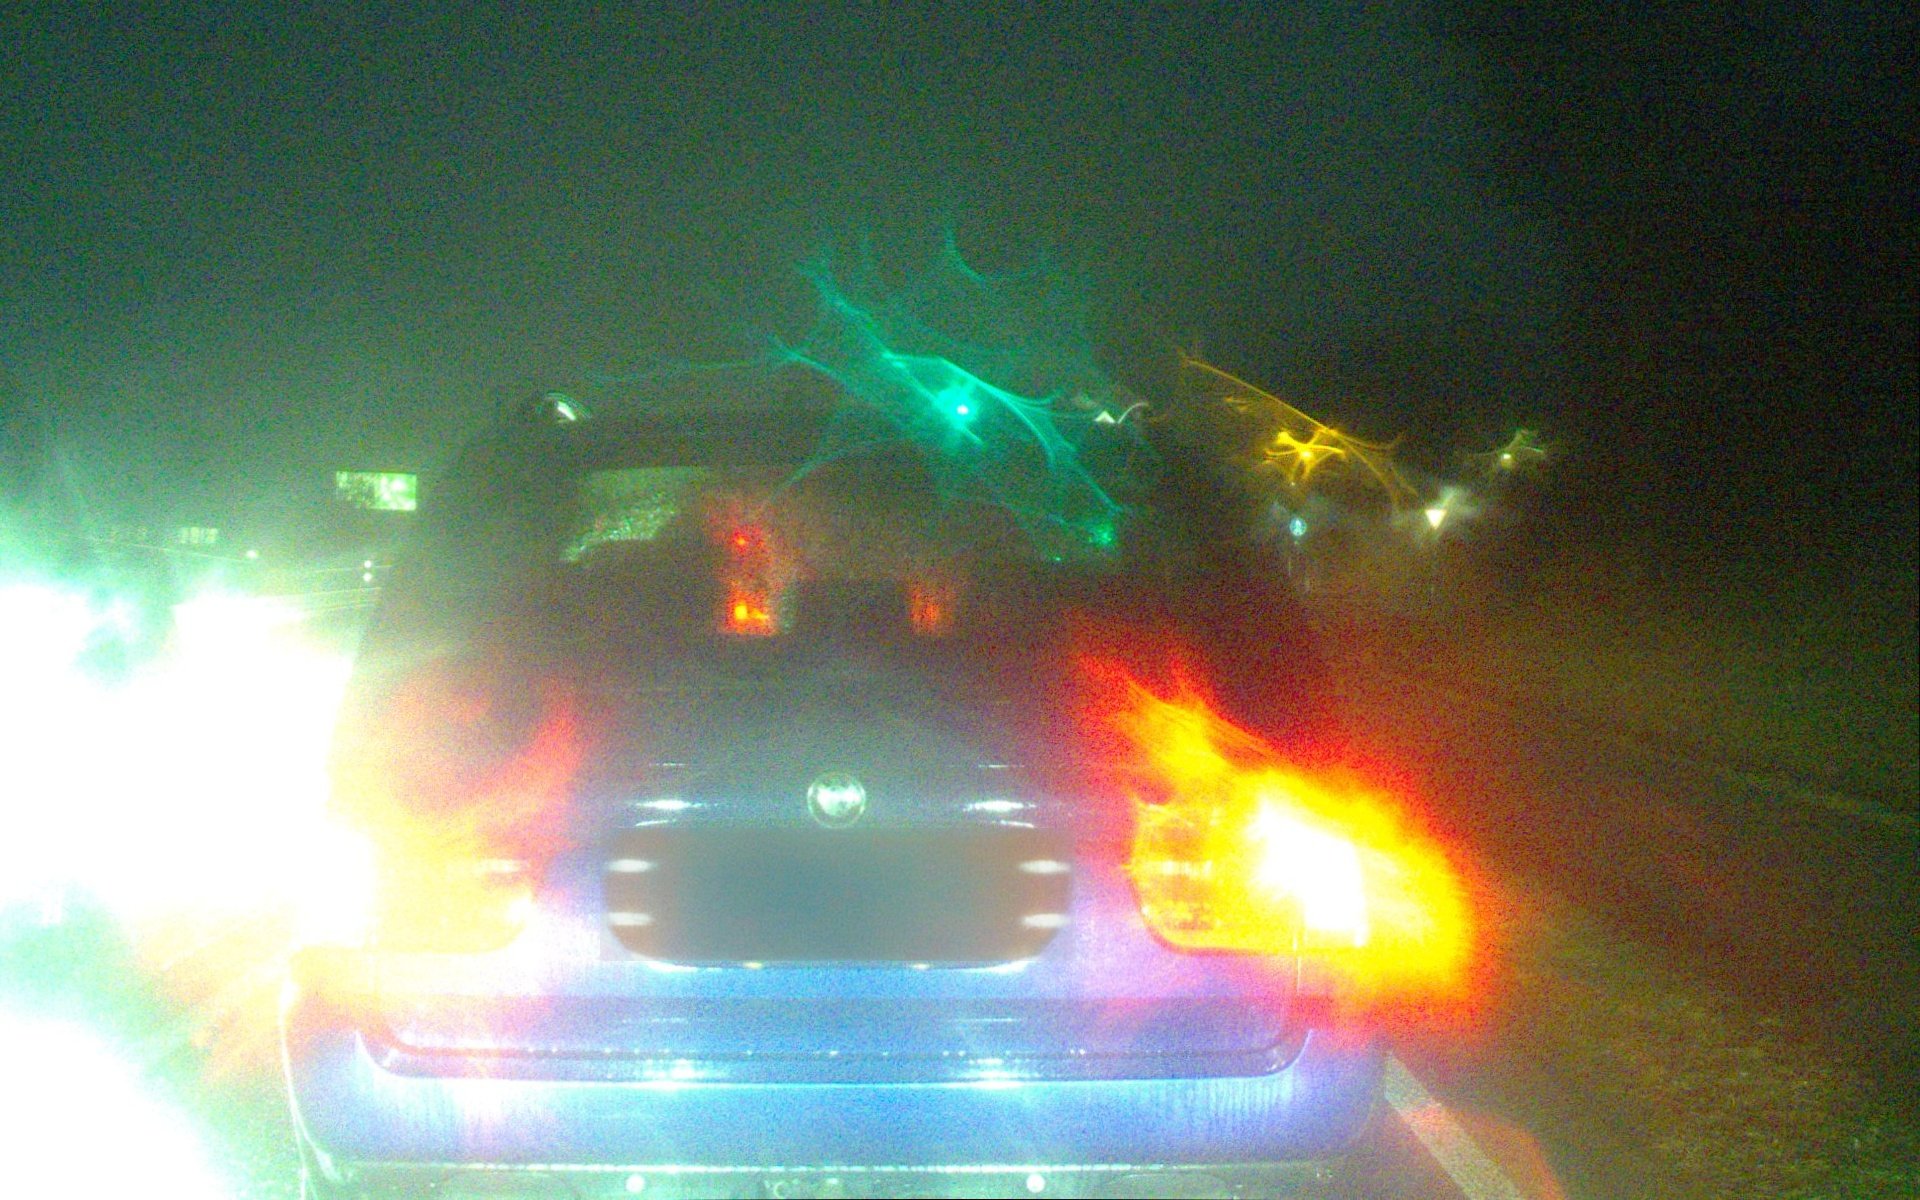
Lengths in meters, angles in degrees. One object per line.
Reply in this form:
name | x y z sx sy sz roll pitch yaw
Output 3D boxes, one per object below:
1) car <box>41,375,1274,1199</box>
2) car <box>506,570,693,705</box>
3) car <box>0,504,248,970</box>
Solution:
car | -0.444 0.514 6.977 1.775 1.706 4.000 0 1 0
car | -4.357 0.416 42.113 1.903 1.465 4.275 2 1 -1
car | -4.121 0.392 13.513 1.837 1.540 4.257 1 1 -1
